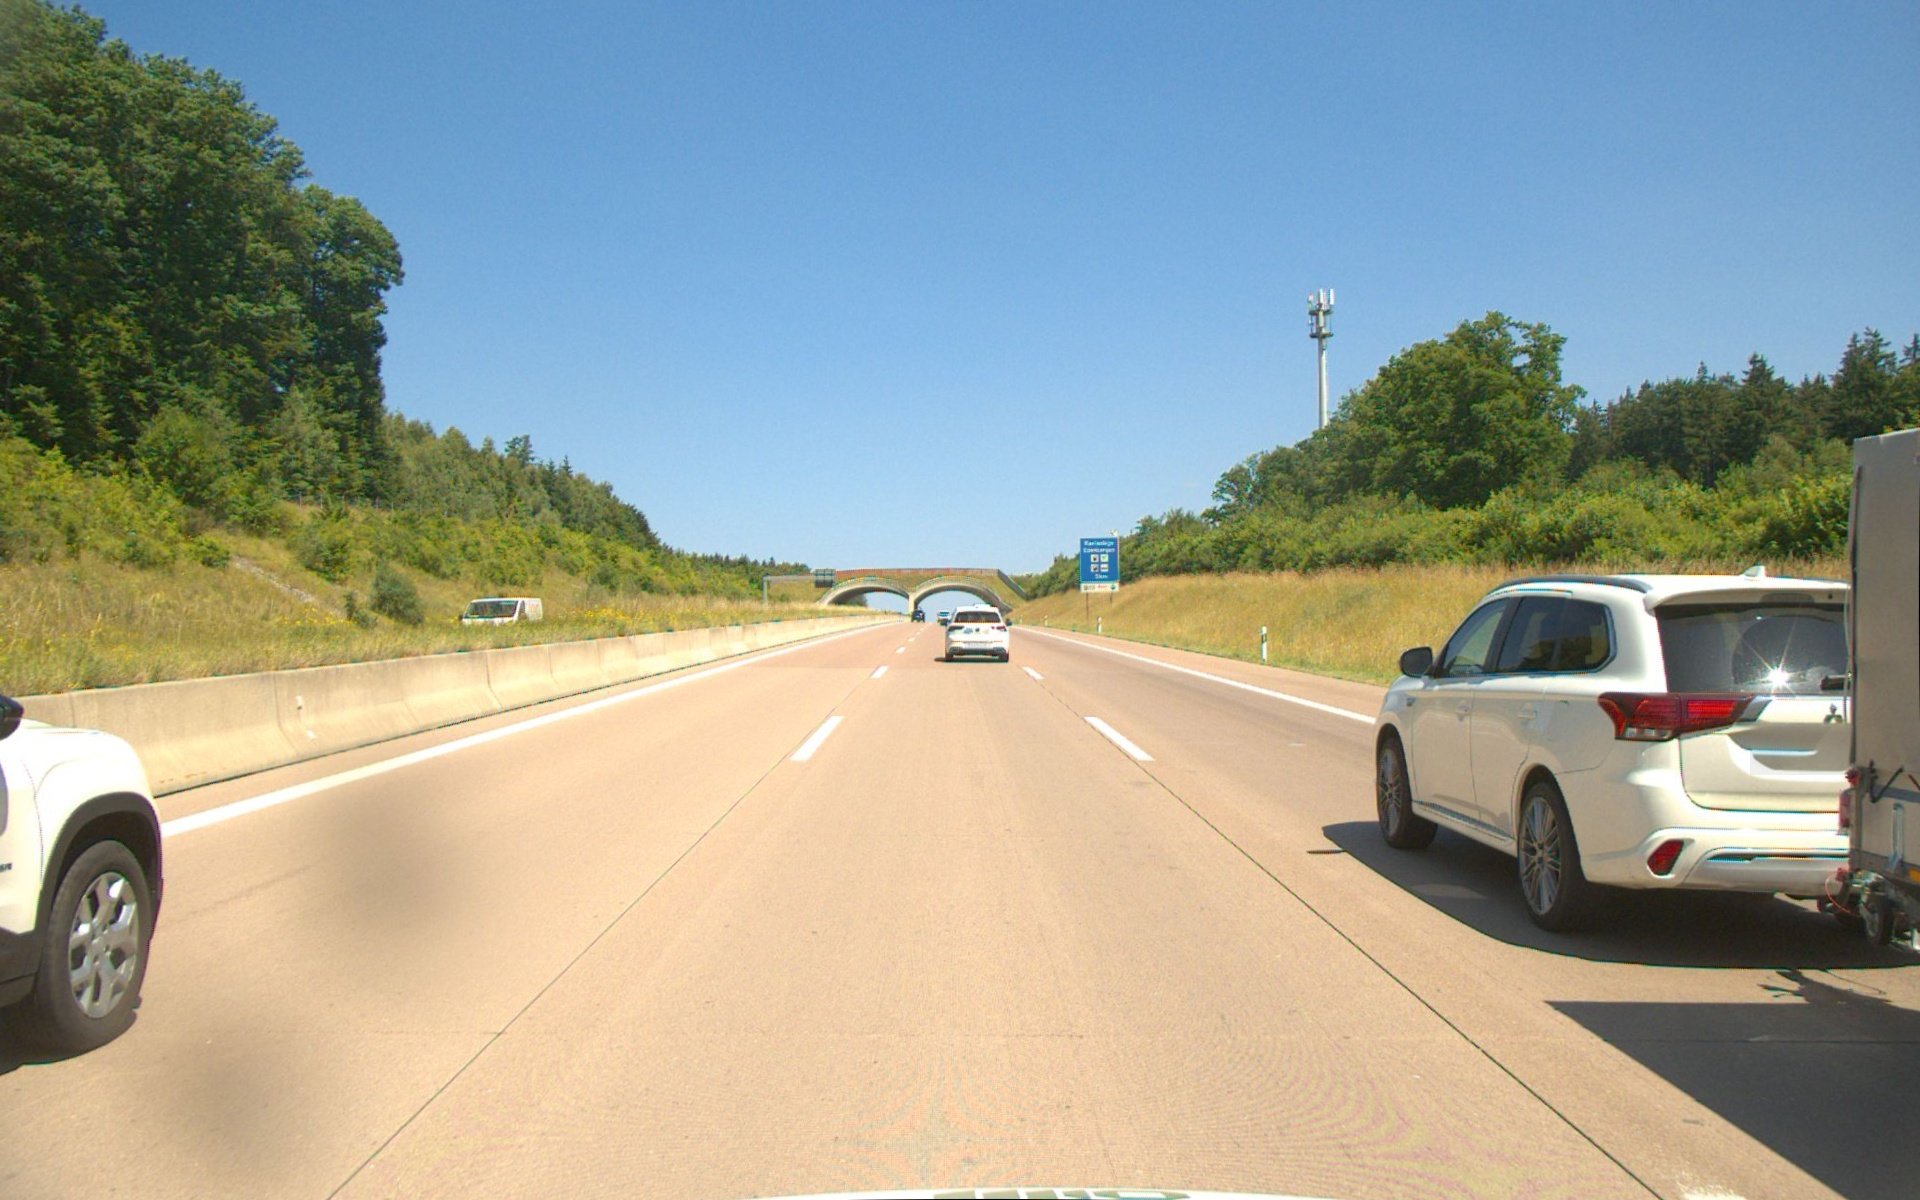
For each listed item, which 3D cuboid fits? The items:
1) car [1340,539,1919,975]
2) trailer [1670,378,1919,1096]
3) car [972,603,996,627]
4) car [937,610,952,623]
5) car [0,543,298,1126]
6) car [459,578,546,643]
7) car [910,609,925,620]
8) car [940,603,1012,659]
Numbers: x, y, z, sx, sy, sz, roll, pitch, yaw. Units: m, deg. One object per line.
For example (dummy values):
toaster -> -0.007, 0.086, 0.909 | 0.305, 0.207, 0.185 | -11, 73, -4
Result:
car -> 3.671, 0.638, 9.289 | 1.852, 1.758, 5.186 | 0, 0, 0
trailer -> 3.763, 0.425, 4.804 | 1.624, 2.202, 4.015 | 0, 0, -1
car -> 2.188, 1.303, 149.872 | 2.067, 2.090, 4.001 | 0, 0, 1
car -> -1.970, 2.111, 210.005 | 1.852, 1.489, 4.000 | 1, 0, 0
car -> -3.606, 0.650, 4.323 | 1.840, 1.635, 4.833 | 0, 0, -1
car -> -15.450, 0.316, 56.091 | 1.853, 2.100, 4.661 | 0, 0, -3
car -> -6.005, 2.066, 234.955 | 1.852, 1.489, 4.001 | 0, 0, 1
car -> 0.462, 0.812, 45.030 | 1.852, 1.422, 4.001 | 1, 0, 1
